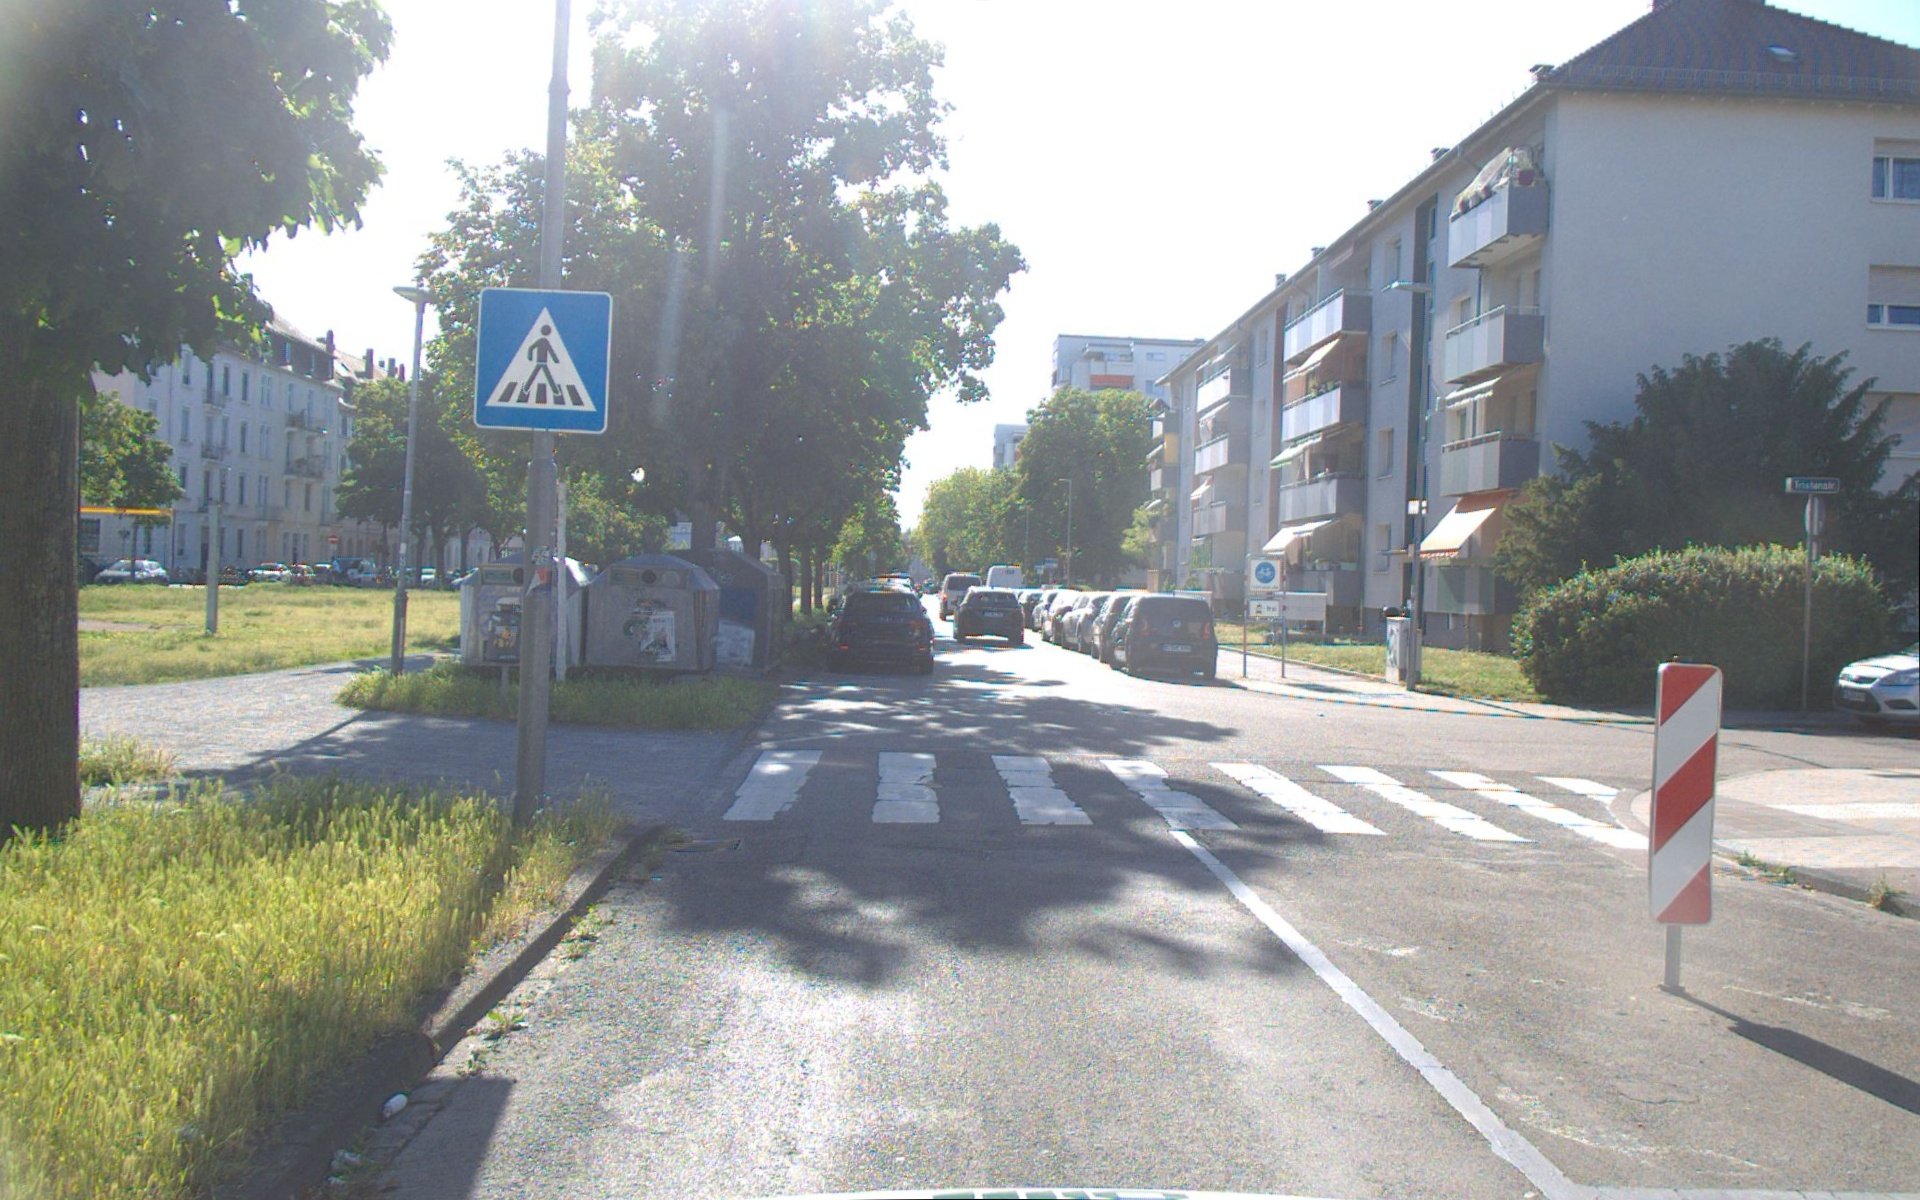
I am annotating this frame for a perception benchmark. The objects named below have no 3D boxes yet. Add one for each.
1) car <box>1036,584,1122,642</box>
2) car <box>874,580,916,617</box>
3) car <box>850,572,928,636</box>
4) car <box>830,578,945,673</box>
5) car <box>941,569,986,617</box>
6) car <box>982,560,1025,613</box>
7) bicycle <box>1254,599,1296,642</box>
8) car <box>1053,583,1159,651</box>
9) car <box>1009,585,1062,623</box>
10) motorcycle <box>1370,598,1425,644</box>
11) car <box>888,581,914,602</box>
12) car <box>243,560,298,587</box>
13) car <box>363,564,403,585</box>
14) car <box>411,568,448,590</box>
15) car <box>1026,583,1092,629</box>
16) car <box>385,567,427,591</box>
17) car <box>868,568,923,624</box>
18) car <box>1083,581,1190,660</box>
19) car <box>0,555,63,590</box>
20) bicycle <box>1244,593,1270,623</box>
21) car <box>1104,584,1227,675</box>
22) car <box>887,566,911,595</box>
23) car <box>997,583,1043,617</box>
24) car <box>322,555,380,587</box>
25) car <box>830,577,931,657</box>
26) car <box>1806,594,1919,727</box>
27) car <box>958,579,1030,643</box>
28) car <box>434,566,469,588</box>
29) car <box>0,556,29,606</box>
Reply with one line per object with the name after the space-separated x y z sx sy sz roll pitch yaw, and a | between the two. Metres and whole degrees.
3.330 0.332 47.136 1.806 1.498 5.063 2 1 -3 | car
-2.815 -0.081 71.101 1.720 1.518 4.665 0 1 -4 | car
-1.896 0.088 45.520 1.985 1.654 4.756 0 1 -1 | car
-1.333 0.392 28.964 1.799 1.477 4.964 1 0 -4 | car
0.116 -0.313 71.536 1.856 2.026 4.009 0 1 -1 | car
2.324 -0.745 90.085 2.099 2.760 6.840 0 1 -1 | car
8.348 0.533 43.836 0.705 1.096 1.896 2 0 -1 | bicycle
3.611 0.380 41.759 1.837 1.560 4.488 2 1 -6 | car
3.008 0.133 66.644 1.665 1.460 4.468 0 1 -4 | car
11.662 0.547 44.114 0.572 1.171 2.032 2 0 -11 | motorcycle
-4.118 -0.595 115.928 1.712 1.450 3.915 0 0 -1 | car
-43.770 -1.650 105.115 1.955 1.614 4.447 2 1 -6 | car
-38.431 -1.678 110.219 1.661 1.301 3.523 2 1 -5 | car
-38.976 -1.535 121.575 1.661 1.553 4.077 2 1 -5 | car
3.432 0.196 58.075 1.714 1.525 3.857 1 1 -5 | car
-38.681 -1.465 115.519 1.661 1.588 4.694 2 1 -5 | car
-2.243 -0.142 57.858 1.827 1.816 4.989 2 0 -2 | car
3.790 0.401 36.204 1.734 1.556 4.557 2 1 -1 | car
-42.585 -1.243 74.395 1.954 1.510 4.956 1 1 -3 | car
11.091 0.290 61.786 0.513 1.089 2.009 -1 1 -3 | bicycle
3.741 0.499 30.725 1.625 1.499 3.791 3 1 -2 | car
-5.623 -1.819 153.005 2.056 2.540 4.126 2 0 -1 | car
2.797 -0.036 77.447 1.840 1.501 4.139 1 1 -2 | car
-38.559 -1.841 104.832 2.041 1.905 5.094 2 1 -5 | car
-1.739 0.291 34.720 1.954 1.542 5.153 0 1 -5 | car
13.890 0.820 22.006 4.320 1.652 1.913 2 0 -5 | car
0.878 0.261 44.688 1.743 1.557 3.999 3 1 -1 | car
-39.003 -1.750 126.922 1.599 1.576 4.351 2 1 -5 | car
-36.723 -0.738 61.323 2.192 1.852 4.254 2 1 -4 | car
